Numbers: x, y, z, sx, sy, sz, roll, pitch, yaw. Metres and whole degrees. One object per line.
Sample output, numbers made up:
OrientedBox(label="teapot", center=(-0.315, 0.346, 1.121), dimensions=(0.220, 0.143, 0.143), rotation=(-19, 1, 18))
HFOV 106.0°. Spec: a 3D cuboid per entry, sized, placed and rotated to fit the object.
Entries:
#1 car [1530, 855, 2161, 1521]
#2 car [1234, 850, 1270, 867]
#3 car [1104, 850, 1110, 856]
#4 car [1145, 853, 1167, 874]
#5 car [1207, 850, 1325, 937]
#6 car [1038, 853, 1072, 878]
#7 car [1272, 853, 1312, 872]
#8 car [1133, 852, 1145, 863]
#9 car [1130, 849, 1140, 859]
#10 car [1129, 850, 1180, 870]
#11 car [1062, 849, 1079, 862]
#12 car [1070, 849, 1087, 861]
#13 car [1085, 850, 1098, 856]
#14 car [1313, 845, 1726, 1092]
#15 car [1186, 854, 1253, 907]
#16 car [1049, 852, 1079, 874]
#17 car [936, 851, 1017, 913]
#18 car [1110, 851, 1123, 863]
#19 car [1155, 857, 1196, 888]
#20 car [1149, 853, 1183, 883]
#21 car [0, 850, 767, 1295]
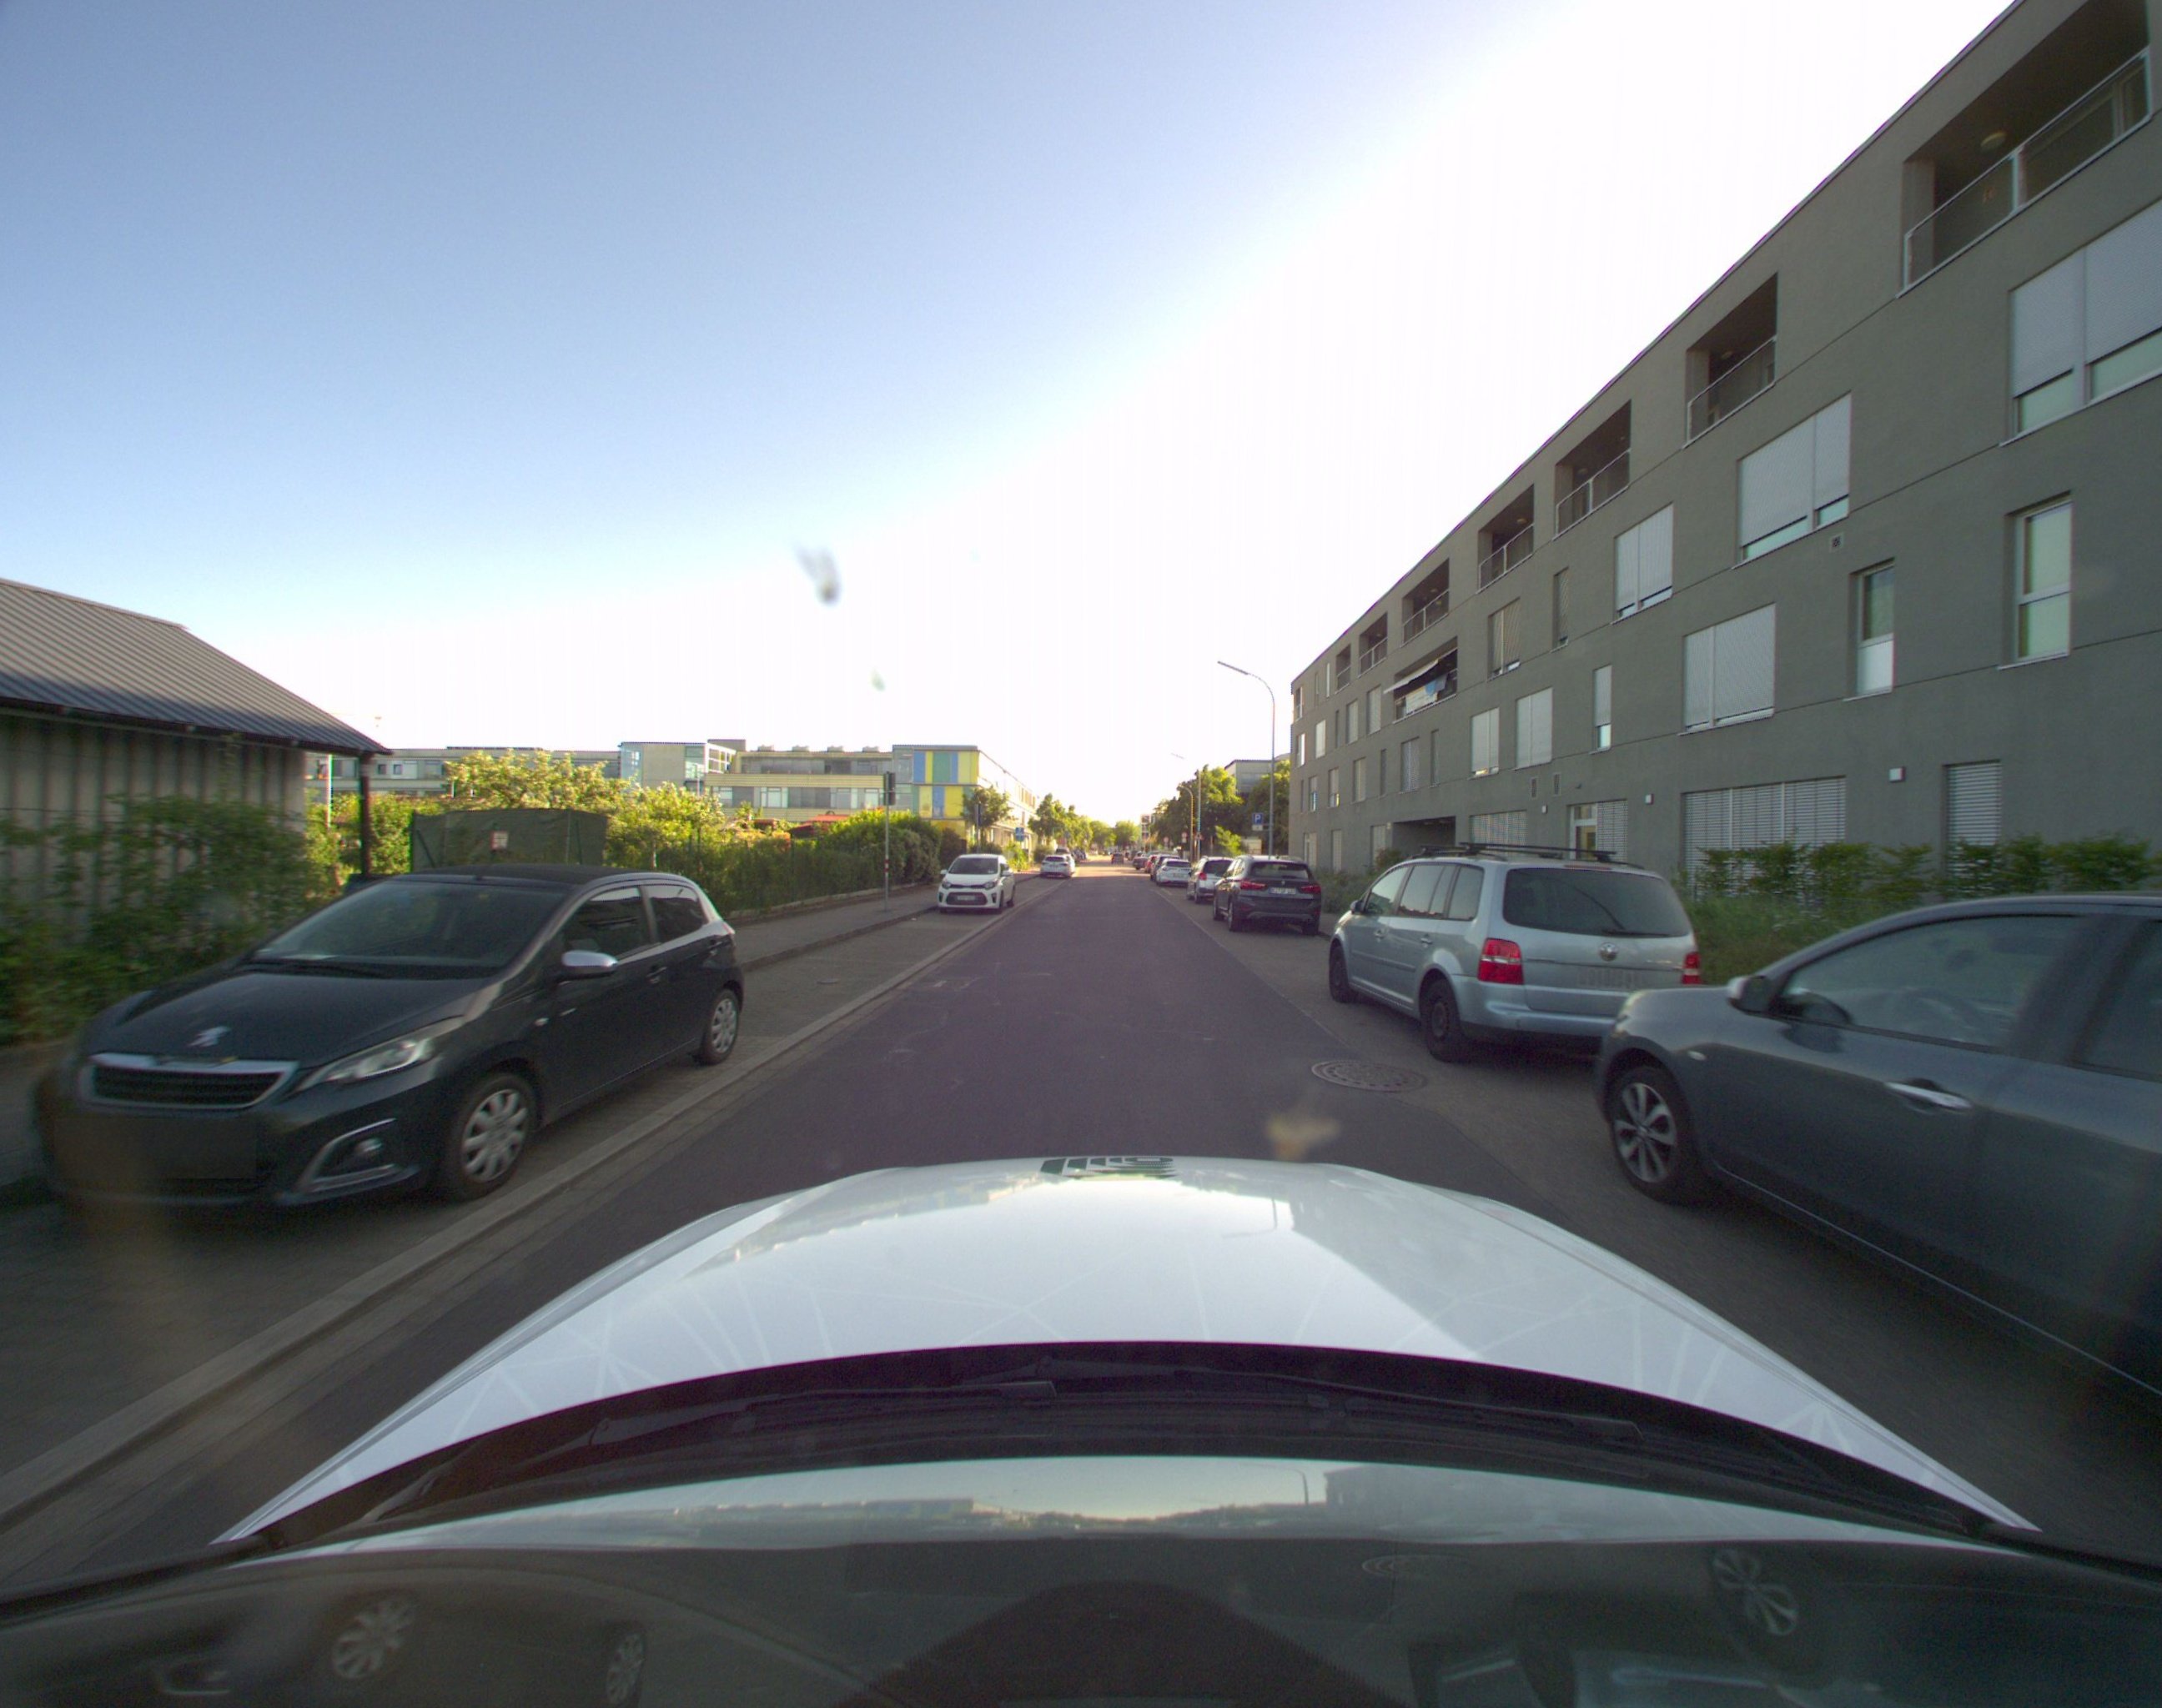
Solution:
OrientedBox(label="car", center=(3.375, 0.810, 2.802), dimensions=(1.616, 1.526, 3.904), rotation=(3, 0, 3))
OrientedBox(label="car", center=(16.884, 0.479, 80.480), dimensions=(3.201, 1.549, 1.452), rotation=(2, 0, 4))
OrientedBox(label="car", center=(7.142, -0.364, 223.311), dimensions=(1.658, 1.549, 3.903), rotation=(2, 0, 1))
OrientedBox(label="car", center=(5.916, 0.751, 64.401), dimensions=(1.440, 1.549, 3.615), rotation=(2, 0, 1))
OrientedBox(label="car", center=(3.951, 0.775, 18.055), dimensions=(1.735, 1.625, 4.181), rotation=(2, 0, 2))
OrientedBox(label="car", center=(-1.581, 0.698, 50.985), dimensions=(1.847, 1.428, 4.136), rotation=(2, 0, 2))
OrientedBox(label="car", center=(18.704, 0.746, 72.338), dimensions=(3.201, 1.460, 1.452), rotation=(2, 0, 4))
OrientedBox(label="car", center=(7.953, 0.468, 112.609), dimensions=(1.440, 1.549, 3.615), rotation=(2, 0, 1))
OrientedBox(label="car", center=(9.101, 0.037, 138.009), dimensions=(1.440, 1.549, 3.615), rotation=(2, 0, 1))
OrientedBox(label="car", center=(6.658, 0.545, 73.615), dimensions=(4.198, 1.546, 1.835), rotation=(2, 0, -24))
OrientedBox(label="car", center=(-1.346, 0.167, 102.266), dimensions=(1.847, 1.563, 4.136), rotation=(2, 0, 2))
OrientedBox(label="car", center=(-0.328, 0.114, 110.532), dimensions=(1.845, 1.563, 4.142), rotation=(2, 0, 7))
OrientedBox(label="car", center=(2.915, -0.318, 225.696), dimensions=(3.594, 1.549, 1.448), rotation=(2, 0, -3))
OrientedBox(label="car", center=(3.608, 0.786, 7.690), dimensions=(1.670, 1.608, 4.180), rotation=(3, 0, 1))
OrientedBox(label="car", center=(4.512, 0.820, 27.043), dimensions=(1.651, 1.551, 3.852), rotation=(2, 0, 2))
OrientedBox(label="car", center=(-1.211, 0.639, 59.323), dimensions=(1.847, 1.428, 4.136), rotation=(2, 0, 2))
OrientedBox(label="car", center=(-2.693, 0.692, 21.739), dimensions=(1.554, 1.495, 3.760), rotation=(0, 0, 2))
OrientedBox(label="car", center=(4.767, 0.426, 109.263), dimensions=(1.683, 1.549, 3.615), rotation=(2, 0, 1))
OrientedBox(label="car", center=(4.817, 0.922, 41.991), dimensions=(1.735, 1.428, 4.136), rotation=(2, 0, 2))
OrientedBox(label="car", center=(4.987, 0.780, 48.001), dimensions=(1.626, 1.630, 3.615), rotation=(2, 0, 1))
OrientedBox(label="car", center=(-3.382, 0.776, 4.698), dimensions=(1.554, 1.494, 3.572), rotation=(3, 0, 2))
